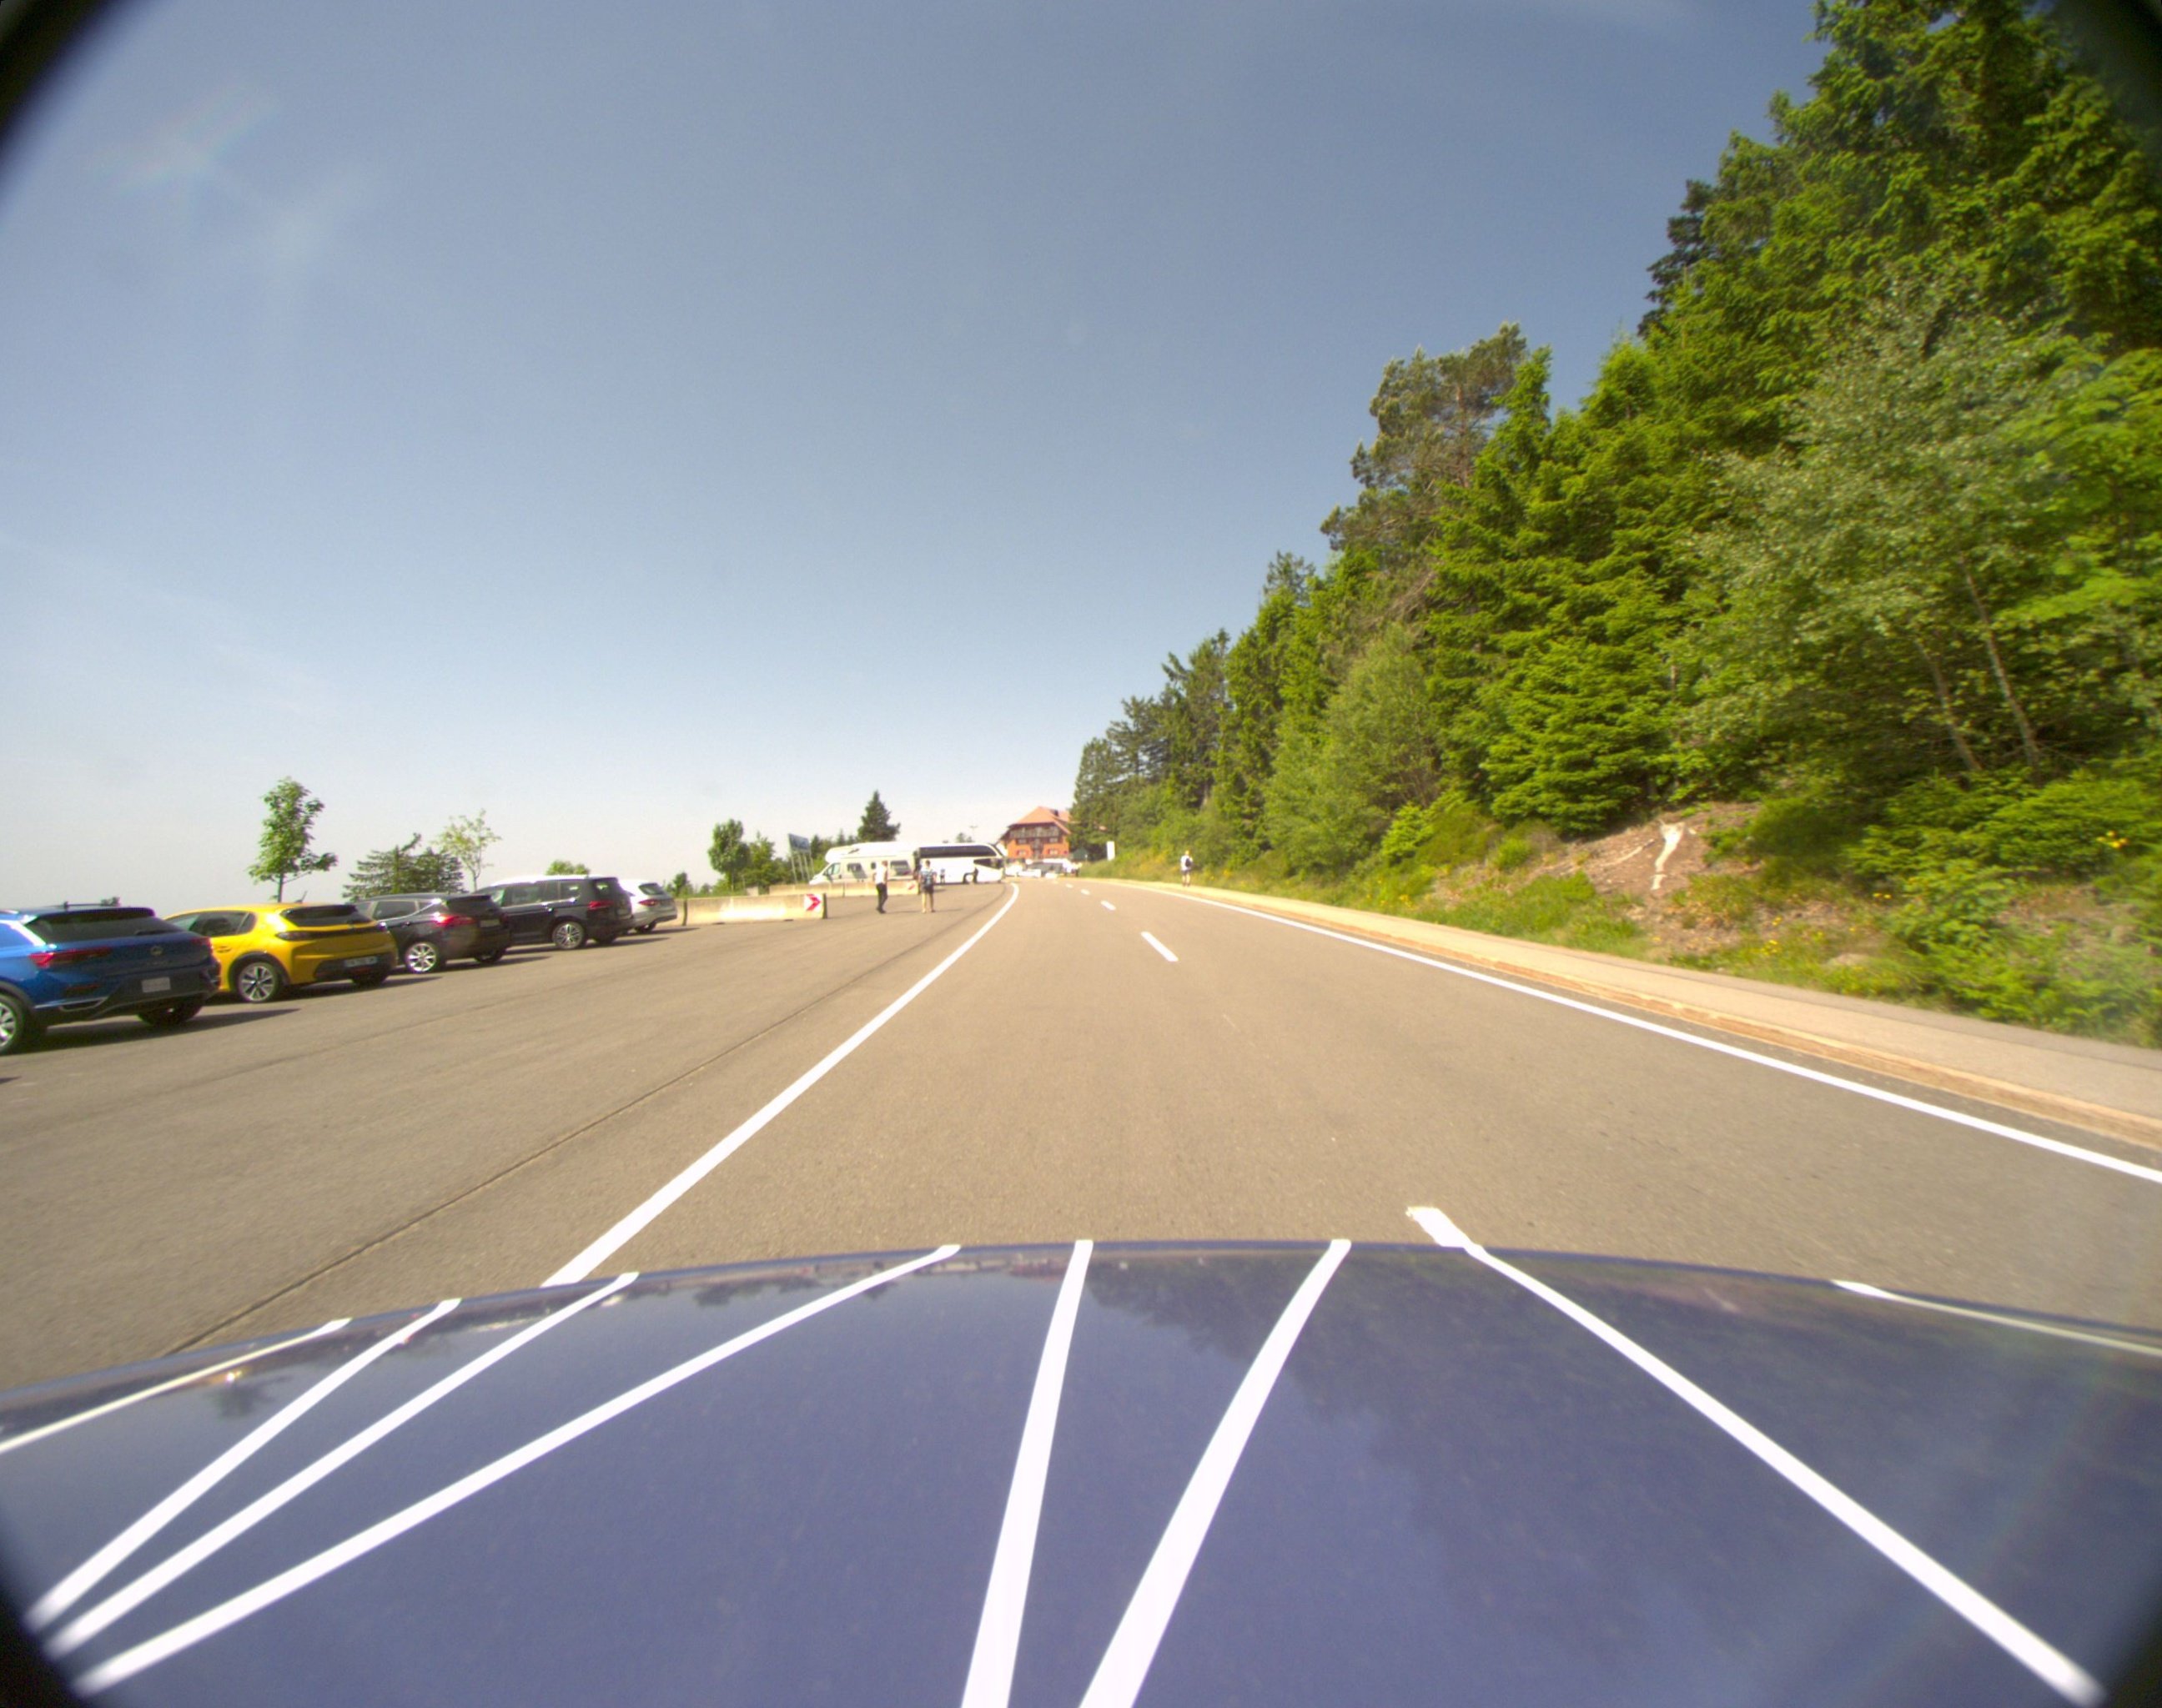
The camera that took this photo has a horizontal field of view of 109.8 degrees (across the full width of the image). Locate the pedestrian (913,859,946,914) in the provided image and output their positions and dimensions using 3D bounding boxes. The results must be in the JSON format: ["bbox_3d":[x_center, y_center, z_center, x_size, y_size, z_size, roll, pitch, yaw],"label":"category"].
[{"bbox_3d":[-4.930,1.051,24.748,0.755,1.750,0.776,-1,0,10],"label":"pedestrian"}]

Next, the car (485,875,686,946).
[{"bbox_3d":[-12.952,1.435,20.076,3.999,1.467,1.772,-4,0,-6],"label":"car"}]

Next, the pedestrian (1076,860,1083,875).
[{"bbox_3d":[-0.162,1.481,85.177,0.578,1.633,0.894,0,-1,-8],"label":"pedestrian"}]

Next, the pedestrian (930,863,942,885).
[{"bbox_3d":[-11.115,1.511,58.159,0.631,1.641,0.629,-1,0,20],"label":"pedestrian"}]

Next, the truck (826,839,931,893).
[{"bbox_3d":[-12.854,0.748,48.659,6.082,3.177,2.531,-1,0,-6],"label":"truck"}]

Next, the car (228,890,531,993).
[{"bbox_3d":[-13.009,1.586,14.277,4.006,1.428,1.763,-5,0,2],"label":"car"}]

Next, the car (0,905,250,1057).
[{"bbox_3d":[-12.456,1.420,8.518,3.999,1.526,1.807,-2,-3,-7],"label":"car"}]

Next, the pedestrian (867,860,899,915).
[{"bbox_3d":[-6.475,1.079,24.835,0.666,1.730,0.895,-1,0,10],"label":"pedestrian"}]

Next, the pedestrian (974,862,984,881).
[{"bbox_3d":[-8.177,1.395,60.794,0.631,1.557,0.628,-1,0,10],"label":"pedestrian"}]

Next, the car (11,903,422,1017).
[{"bbox_3d":[-12.975,1.555,11.633,3.997,1.345,1.987,-2,0,1],"label":"car"}]

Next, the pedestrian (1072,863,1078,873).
[{"bbox_3d":[-0.700,1.543,82.760,0.570,1.095,0.744,0,-1,-8],"label":"pedestrian"}]

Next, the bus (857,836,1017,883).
[{"bbox_3d":[-11.934,0.441,63.973,12.882,3.556,2.838,-1,0,-3],"label":"bus"}]

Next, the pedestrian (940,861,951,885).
[{"bbox_3d":[-10.304,1.437,57.887,0.631,1.747,0.628,-1,0,10],"label":"pedestrian"}]

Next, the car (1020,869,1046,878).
[{"bbox_3d":[-7.904,3.226,125.407,3.954,1.578,1.793,-1,-1,22],"label":"car"}]

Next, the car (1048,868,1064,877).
[{"bbox_3d":[-4.653,3.521,143.629,1.710,1.543,3.140,-1,-1,26],"label":"car"}]

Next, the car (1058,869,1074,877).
[{"bbox_3d":[-2.759,3.448,137.856,1.637,1.425,3.322,-3,-3,23],"label":"car"}]

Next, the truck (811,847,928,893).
[{"bbox_3d":[-12.513,0.944,45.334,6.278,2.575,2.340,-1,-1,-4],"label":"truck"}]

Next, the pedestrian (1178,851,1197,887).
[{"bbox_3d":[5.155,0.719,36.857,0.684,1.736,0.824,-2,0,-8],"label":"pedestrian"}]

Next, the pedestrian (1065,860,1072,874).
[{"bbox_3d":[-1.418,1.434,84.825,0.582,1.528,0.879,0,-1,-11],"label":"pedestrian"}]

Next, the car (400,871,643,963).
[{"bbox_3d":[-12.366,1.356,17.021,3.999,1.637,1.599,-4,0,-7],"label":"car"}]
